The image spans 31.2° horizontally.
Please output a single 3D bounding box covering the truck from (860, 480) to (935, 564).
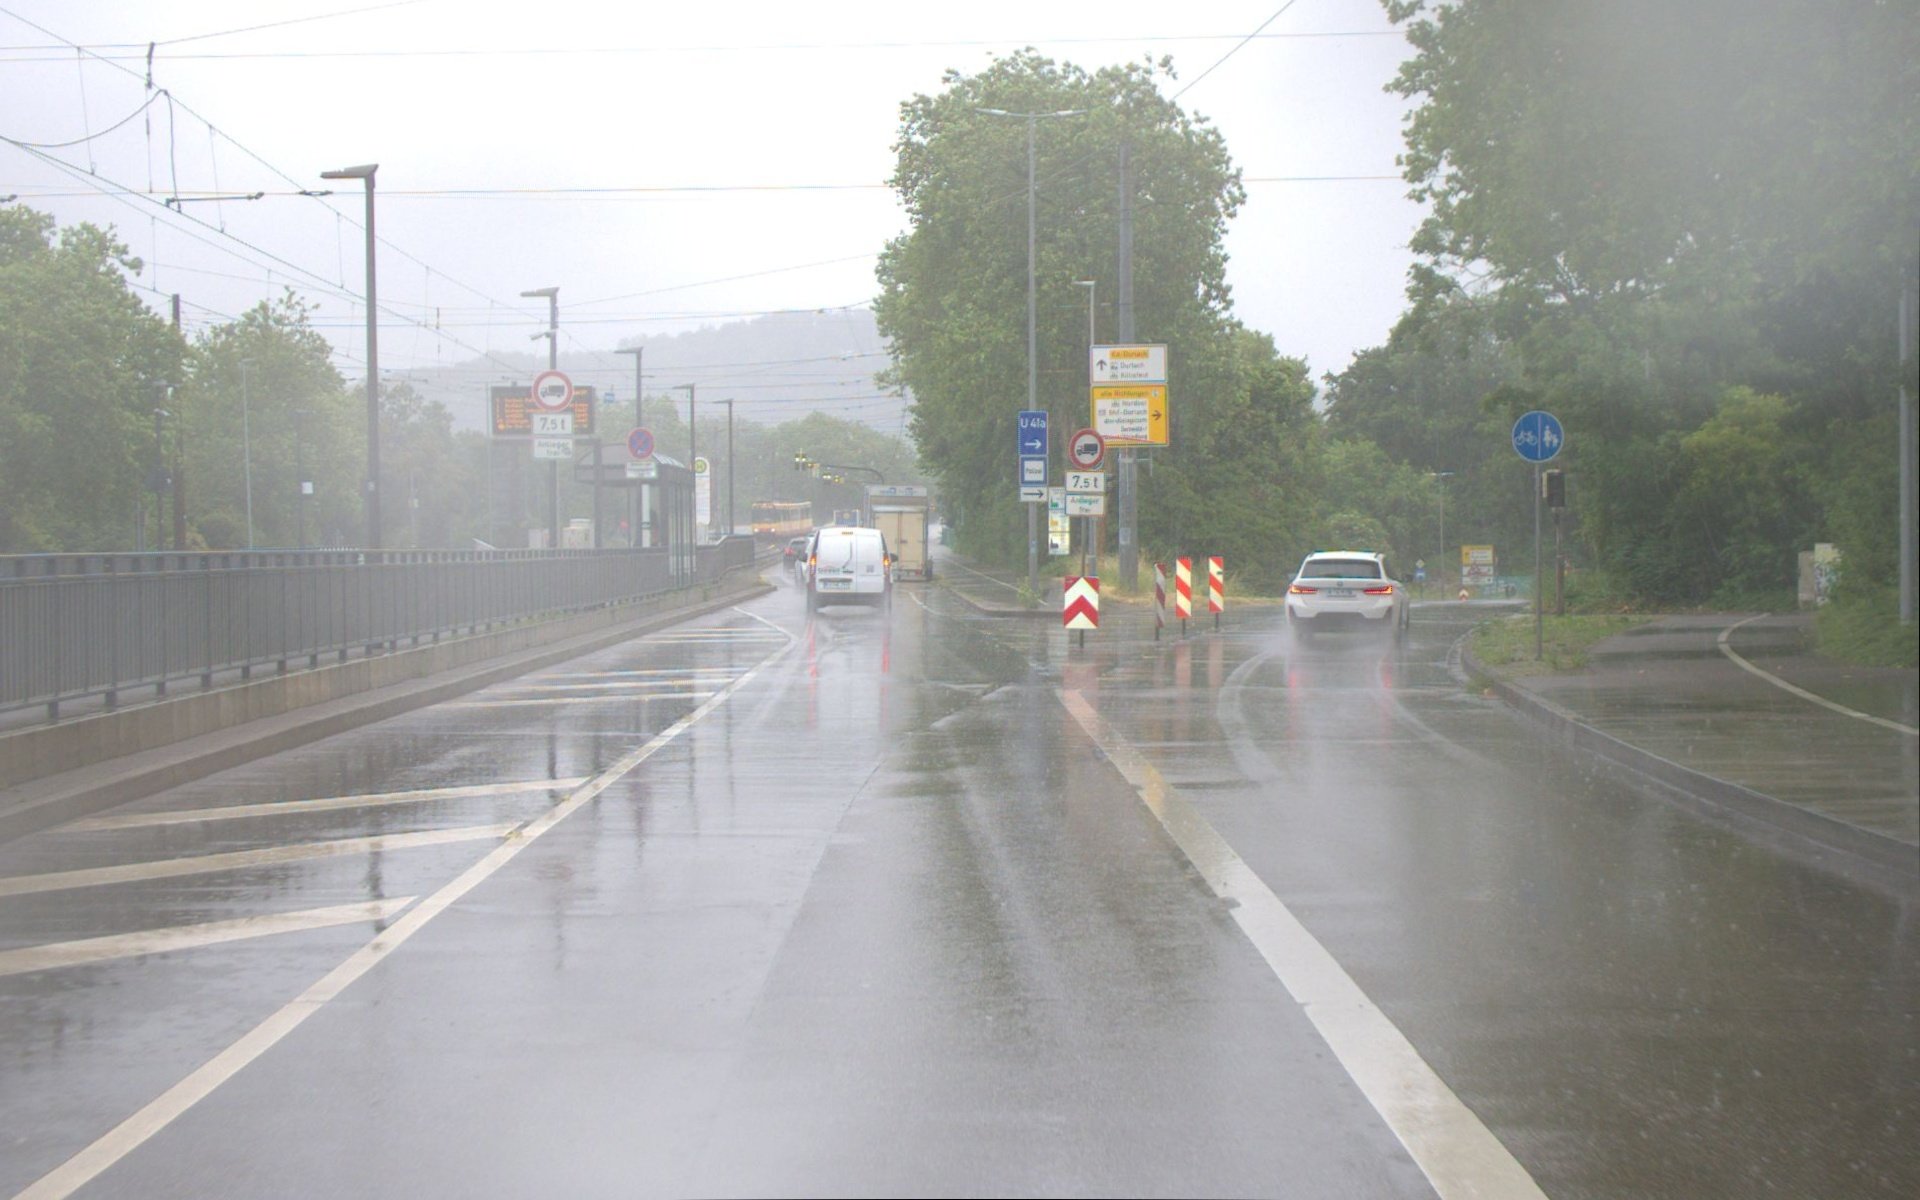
[{"bbox_3d":[-2.923,-3.509,157.412,2.775,3.691,9.854,0,1,-5],"label":"truck"}]

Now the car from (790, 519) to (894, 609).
[{"bbox_3d":[-2.496,-0.772,71.976,1.993,1.842,4.001,0,1,-4],"label":"car"}]

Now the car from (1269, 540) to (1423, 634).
[{"bbox_3d":[6.190,-0.239,54.850,1.889,1.426,3.997,0,1,15],"label":"car"}]

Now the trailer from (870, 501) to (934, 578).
[{"bbox_3d":[-2.101,-2.186,126.239,2.166,2.748,5.676,0,1,1],"label":"trailer"}]

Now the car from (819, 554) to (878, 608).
[{"bbox_3d":[-3.477,-0.596,107.437,1.786,1.637,3.968,0,1,-2],"label":"car"}]
